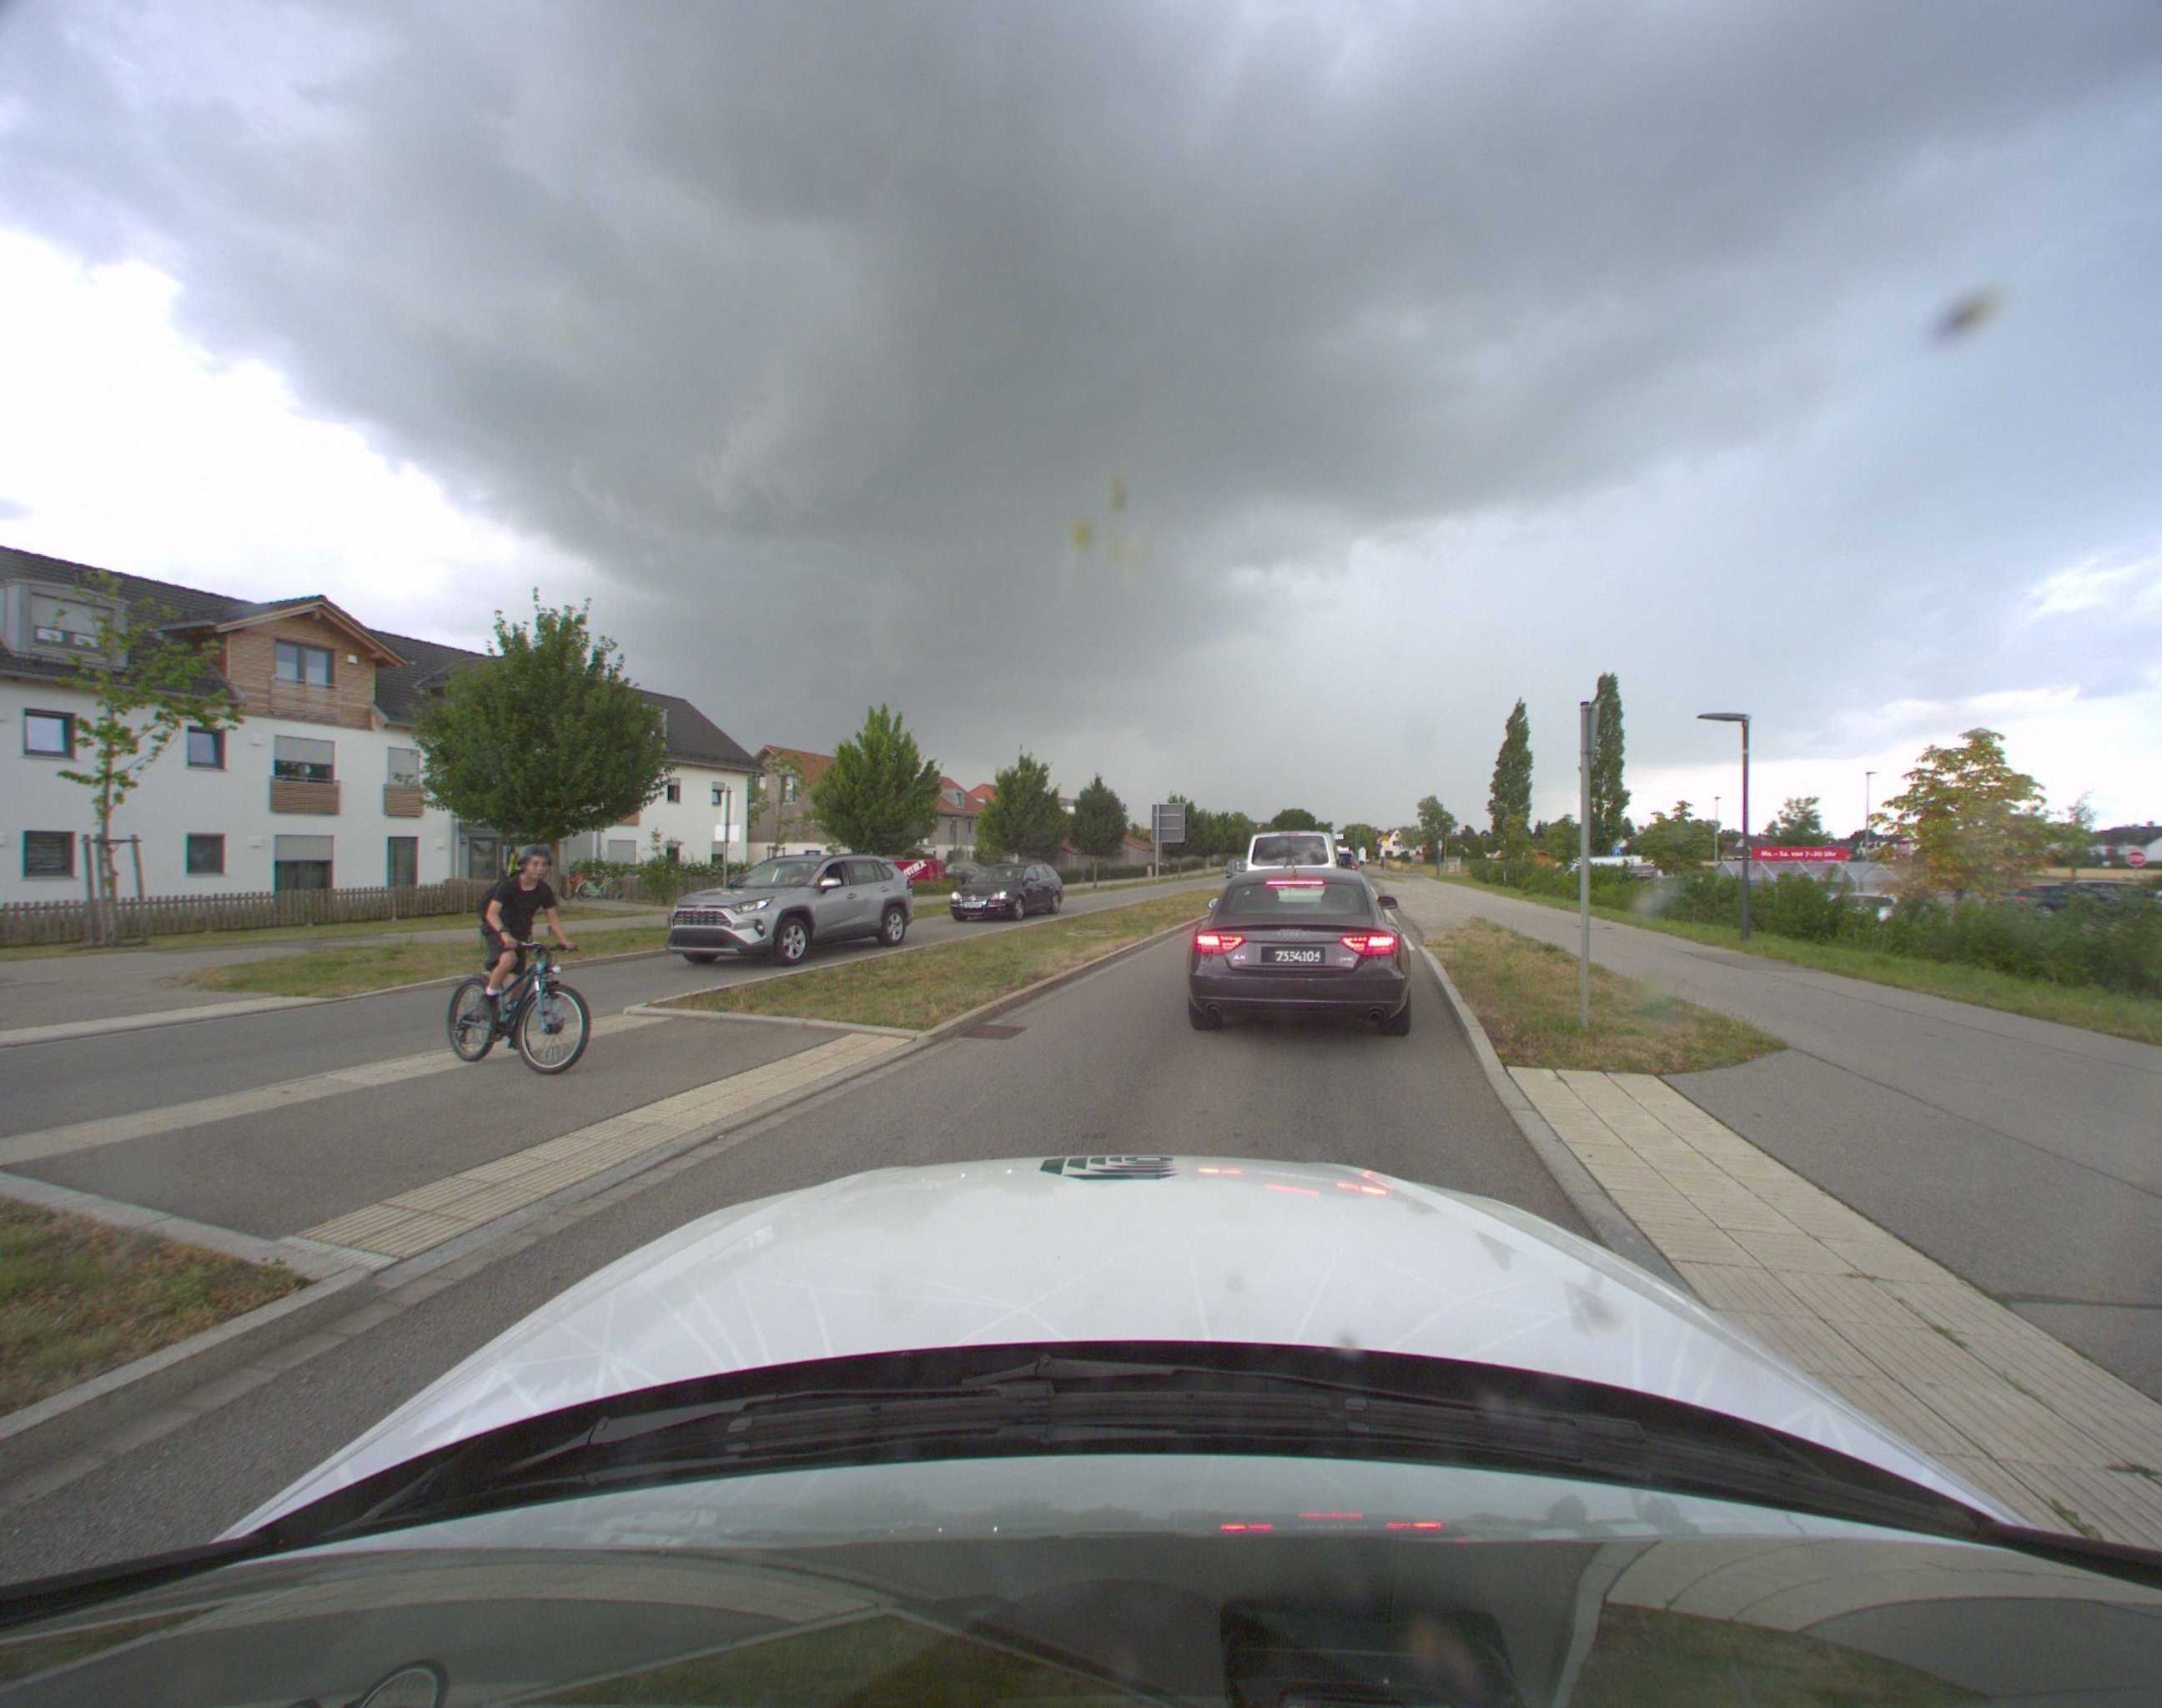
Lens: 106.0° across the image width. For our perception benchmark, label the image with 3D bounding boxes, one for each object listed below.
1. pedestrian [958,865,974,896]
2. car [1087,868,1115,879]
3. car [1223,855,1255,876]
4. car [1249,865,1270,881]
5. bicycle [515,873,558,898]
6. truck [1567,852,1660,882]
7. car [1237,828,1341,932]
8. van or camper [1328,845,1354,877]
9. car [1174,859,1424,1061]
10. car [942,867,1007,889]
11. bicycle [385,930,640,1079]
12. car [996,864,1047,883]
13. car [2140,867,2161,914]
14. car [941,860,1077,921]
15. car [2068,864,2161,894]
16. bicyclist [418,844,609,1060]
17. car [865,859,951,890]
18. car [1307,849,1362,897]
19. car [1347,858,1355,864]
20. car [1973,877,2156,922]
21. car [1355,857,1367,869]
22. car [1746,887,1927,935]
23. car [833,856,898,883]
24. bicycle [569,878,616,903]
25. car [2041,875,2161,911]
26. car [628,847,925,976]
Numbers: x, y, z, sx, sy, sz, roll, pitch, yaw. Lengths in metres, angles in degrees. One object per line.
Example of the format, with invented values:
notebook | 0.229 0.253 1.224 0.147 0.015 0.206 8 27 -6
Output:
pedestrian | -5.906 1.332 41.795 0.577 1.559 0.663 0 0 16
car | 1.962 1.891 78.763 2.455 1.028 1.189 0 0 12
car | 11.763 0.898 60.395 1.716 1.410 4.225 -4 -2 19
car | 18.720 1.999 85.259 1.853 1.574 4.018 0 0 17
bicycle | -20.371 1.167 30.478 0.364 0.843 1.344 3 1 20
truck | 35.020 0.840 53.693 4.762 1.872 2.007 1 0 14
car | 4.476 0.505 17.337 1.853 1.934 4.017 -1 0 16
van or camper | 28.572 0.829 89.521 2.604 3.324 6.852 1 -1 18
car | 2.154 0.764 7.988 1.770 1.391 4.150 0 0 16
car | -7.237 1.615 55.425 3.885 1.315 1.850 1 0 16
bicycle | -4.108 1.050 5.897 1.696 0.946 0.499 -1 -1 13
car | -4.758 1.546 64.963 3.702 1.482 1.693 1 0 15
car | 49.591 1.618 34.972 5.080 2.013 2.005 0 1 7
car | -1.763 0.909 21.582 1.738 1.416 4.479 -2 -1 21
car | 66.122 1.575 51.671 3.952 1.838 2.011 0 0 22
bicyclist | -4.082 0.661 5.897 0.860 1.446 0.727 -1 0 13
car | -10.074 1.162 47.346 4.491 1.680 2.010 0 0 21
car | 9.239 0.635 29.652 1.762 1.618 4.018 0 0 18
car | 59.069 1.558 178.334 1.600 1.272 3.478 1 0 19
car | 40.831 1.840 33.953 4.520 1.664 2.009 0 0 18
car | 40.264 1.282 117.193 1.600 1.631 3.633 1 0 19
car | 26.111 1.938 28.337 4.199 1.440 2.009 0 0 18
car | -14.966 1.075 56.720 1.976 1.772 4.490 0 -1 23
bicycle | -17.747 1.309 29.641 0.364 0.843 1.554 3 1 20
car | 48.380 1.807 38.033 4.276 1.578 1.776 0 0 20
car | -4.636 0.787 13.291 1.977 1.704 4.657 -1 -1 19
